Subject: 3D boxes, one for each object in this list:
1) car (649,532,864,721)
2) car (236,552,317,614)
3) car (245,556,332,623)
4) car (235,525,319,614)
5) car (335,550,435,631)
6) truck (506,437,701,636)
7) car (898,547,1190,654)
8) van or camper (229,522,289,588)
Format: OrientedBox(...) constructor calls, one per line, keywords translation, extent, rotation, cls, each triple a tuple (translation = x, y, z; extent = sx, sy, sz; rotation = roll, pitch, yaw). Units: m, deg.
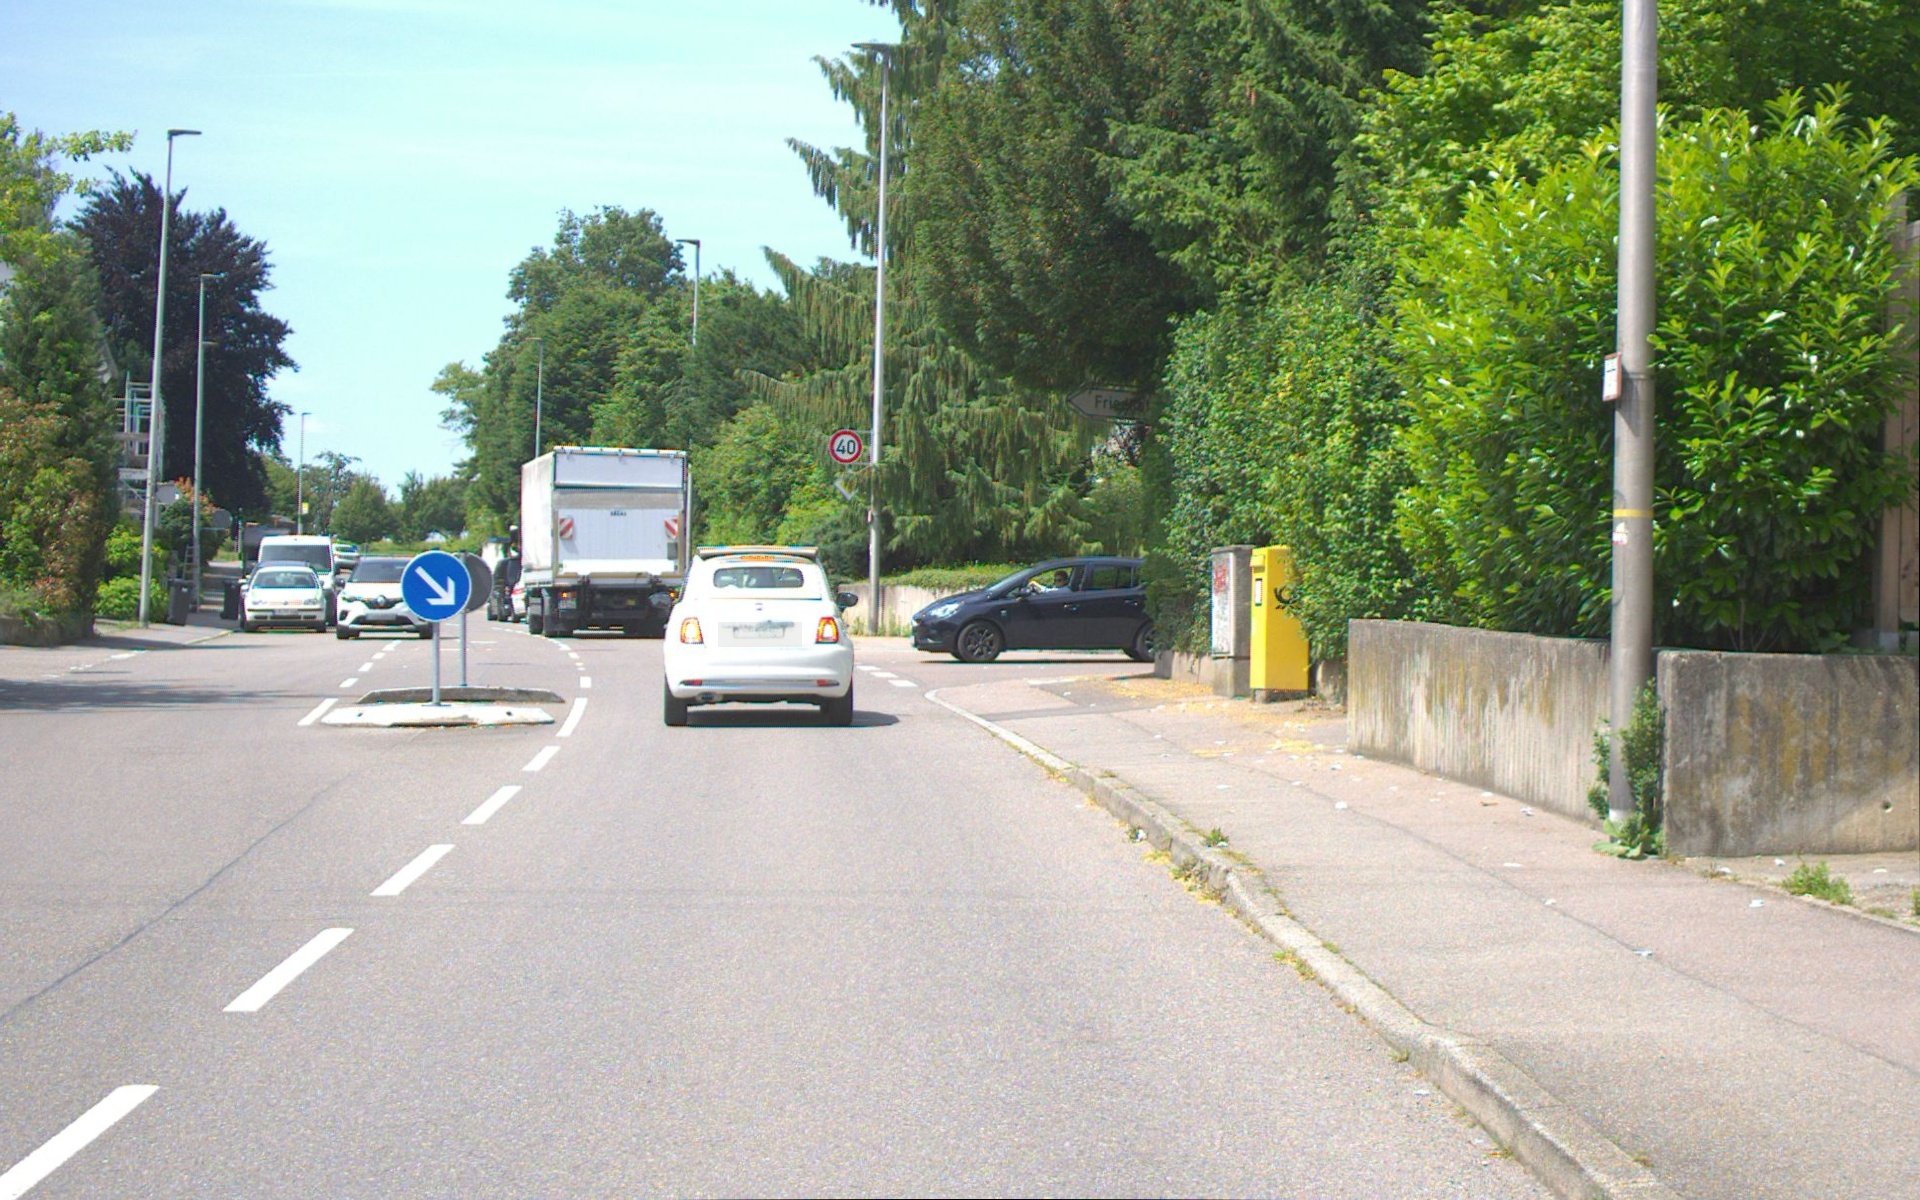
OrientedBox(translation=(-1.874, 0.192, 30.664), extent=(1.724, 1.555, 4.001), rotation=(-1, 1, -6), cls="car")
OrientedBox(translation=(-16.088, -0.407, 80.812), extent=(1.804, 1.393, 3.969), rotation=(1, 0, -12), cls="car")
OrientedBox(translation=(-14.732, -0.243, 75.308), extent=(1.804, 1.393, 4.001), rotation=(1, 0, -12), cls="car")
OrientedBox(translation=(-17.635, -0.797, 88.656), extent=(2.036, 2.192, 5.584), rotation=(1, 0, -12), cls="car")
OrientedBox(translation=(-11.193, -0.190, 67.081), extent=(1.782, 1.524, 4.171), rotation=(0, 0, -7), cls="car")
OrientedBox(translation=(-7.291, -1.223, 69.267), extent=(3.067, 3.761, 7.870), rotation=(0, 0, -12), cls="truck")
OrientedBox(translation=(1.156, 0.006, 48.469), extent=(3.932, 1.453, 1.659), rotation=(0, 0, -6), cls="car")
OrientedBox(translation=(-32.704, -2.091, 160.480), extent=(2.264, 2.952, 5.890), rotation=(2, 0, -8), cls="van or camper")
